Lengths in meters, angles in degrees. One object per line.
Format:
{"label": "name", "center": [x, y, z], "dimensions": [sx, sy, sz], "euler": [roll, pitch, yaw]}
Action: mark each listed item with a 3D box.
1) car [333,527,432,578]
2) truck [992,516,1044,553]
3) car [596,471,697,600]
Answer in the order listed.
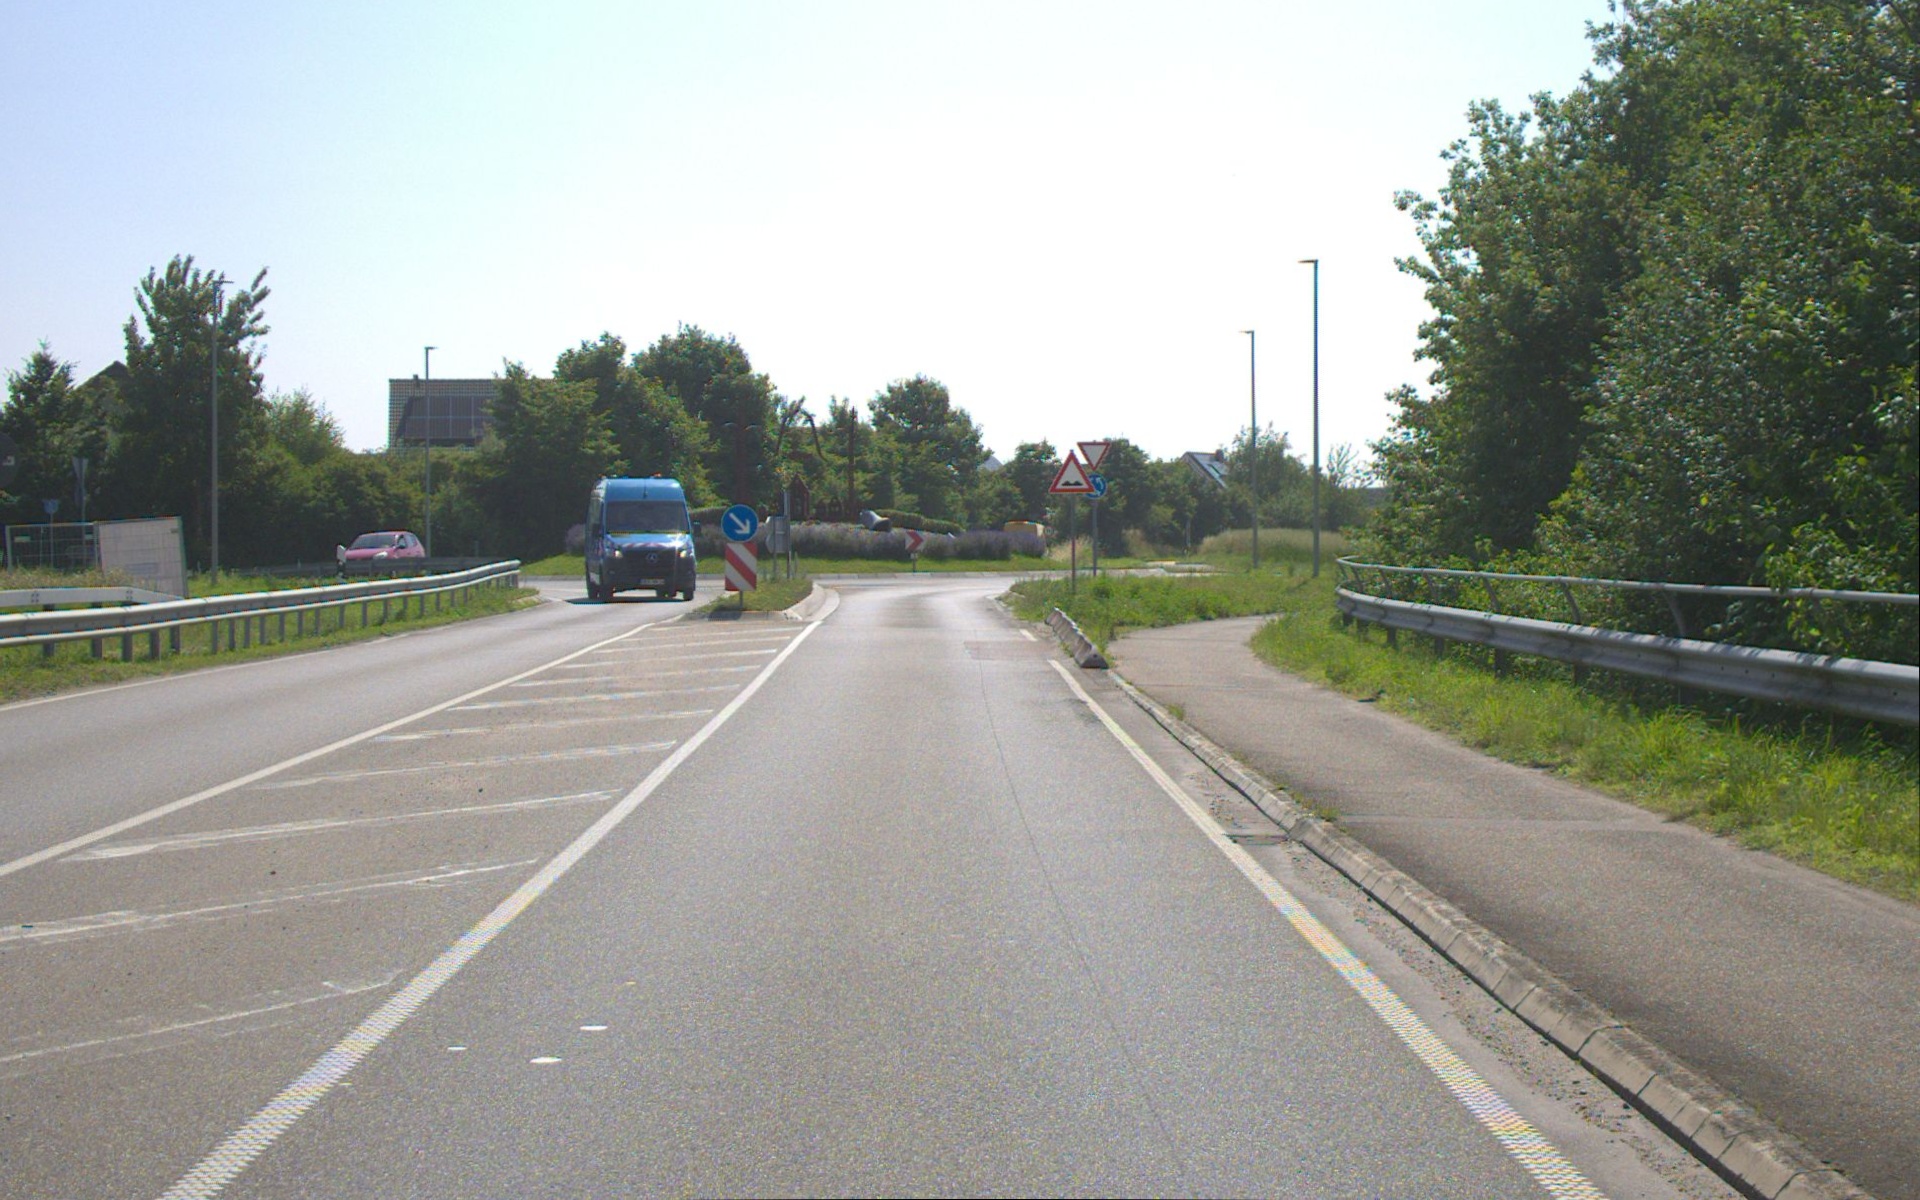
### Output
{"label": "car", "center": [-17.521, -1.460, 104.437], "dimensions": [1.628, 1.486, 3.801], "euler": [-1, 1, 12]}
{"label": "truck", "center": [3.239, -3.640, 191.101], "dimensions": [1.995, 2.007, 3.998], "euler": [0, 1, 14]}
{"label": "car", "center": [-6.807, -1.410, 74.891], "dimensions": [1.993, 2.602, 7.292], "euler": [-2, 1, -5]}
